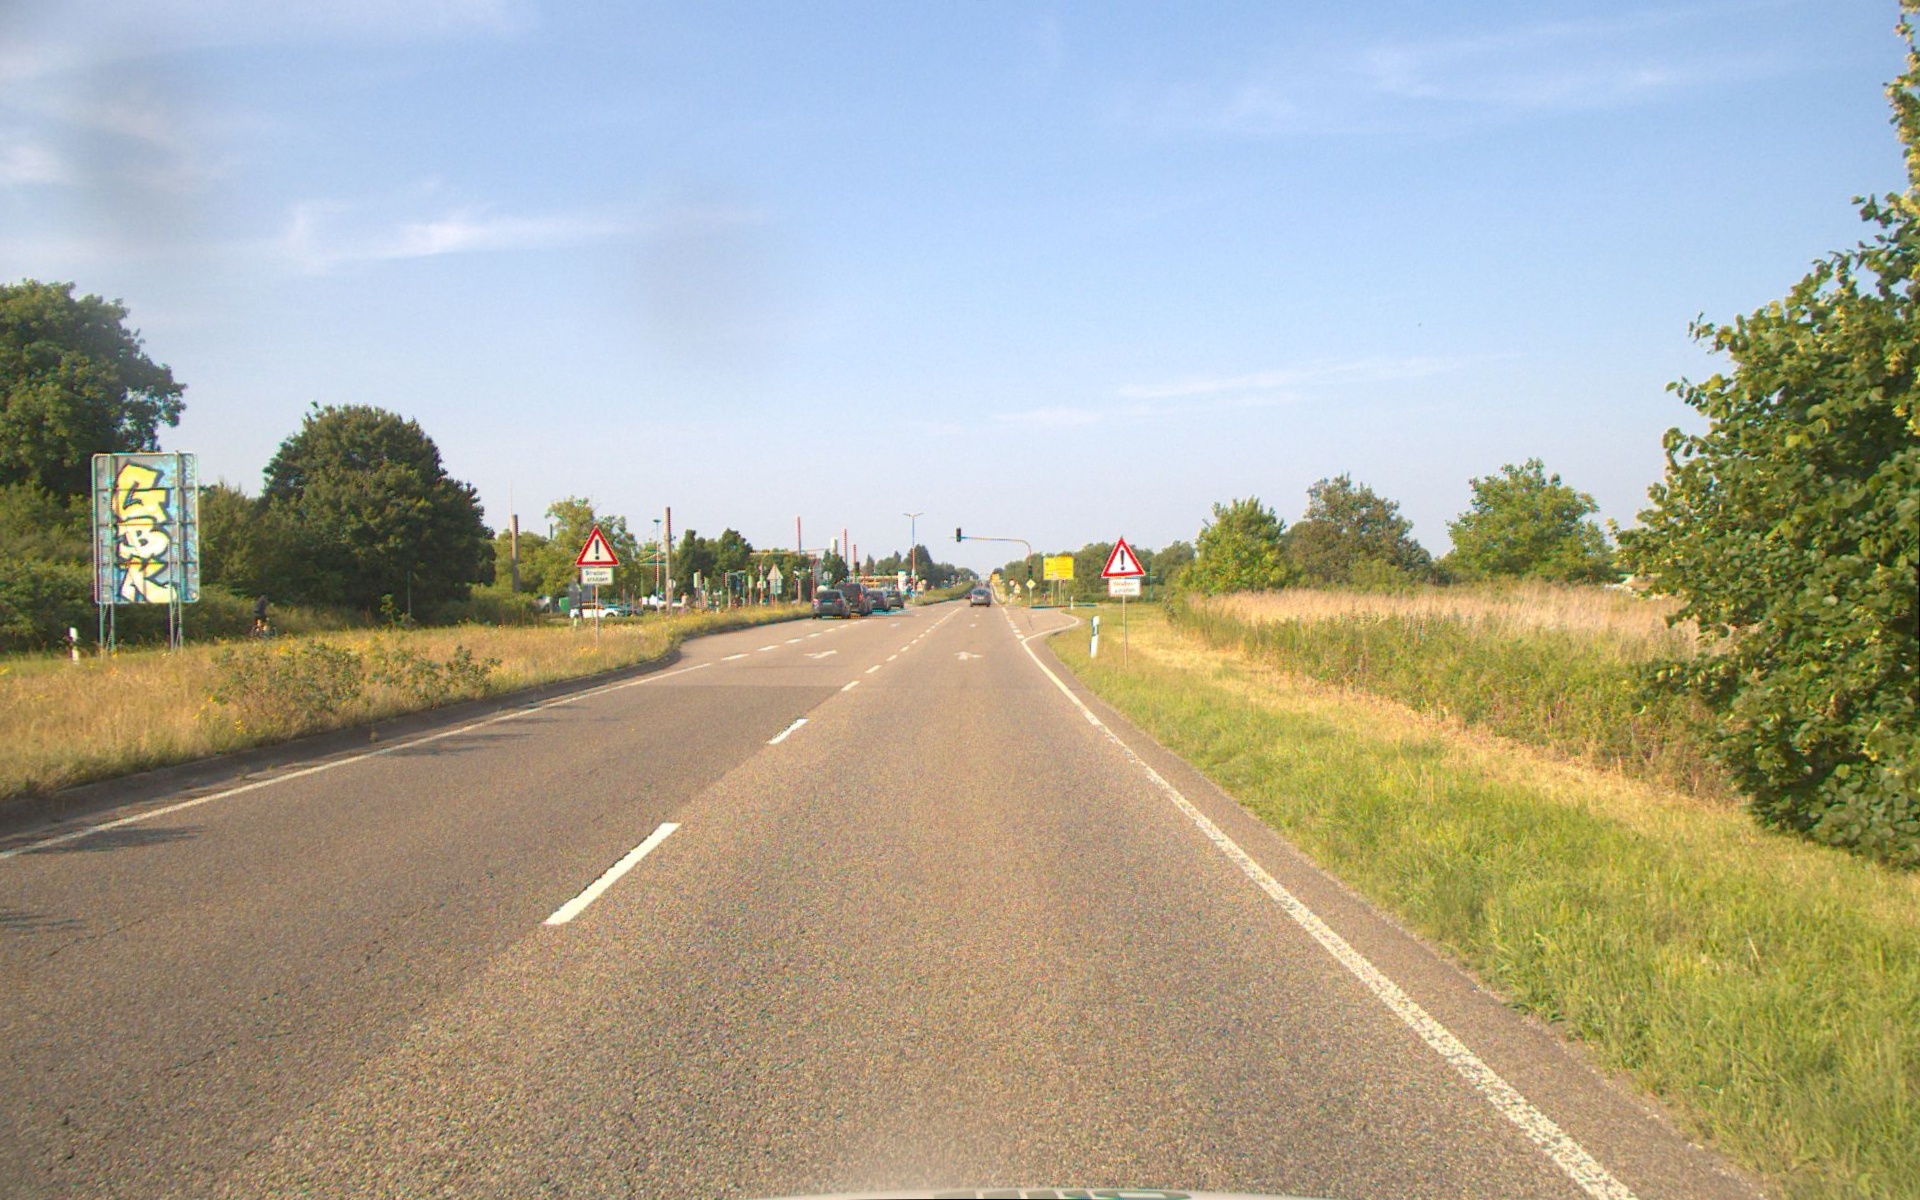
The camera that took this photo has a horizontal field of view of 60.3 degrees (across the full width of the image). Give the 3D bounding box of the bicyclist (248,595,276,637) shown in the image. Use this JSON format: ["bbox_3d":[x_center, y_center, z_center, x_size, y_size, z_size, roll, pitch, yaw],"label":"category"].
[{"bbox_3d":[-23.636,0.533,56.031,0.457,1.414,1.048,-1,0,1],"label":"bicyclist"}]

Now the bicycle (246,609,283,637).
[{"bbox_3d":[-23.610,0.770,56.153,0.519,0.893,1.705,-1,0,1],"label":"bicycle"}]

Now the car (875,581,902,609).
[{"bbox_3d":[-5.710,-0.382,131.463,1.955,2.049,4.831,-1,-2,-5],"label":"car"}]

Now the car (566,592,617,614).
[{"bbox_3d":[-30.199,0.251,135.632,3.915,1.691,1.882,1,-1,-11],"label":"car"}]

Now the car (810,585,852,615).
[{"bbox_3d":[-6.604,-0.043,85.176,1.696,1.481,4.521,-1,1,2],"label":"car"}]

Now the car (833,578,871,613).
[{"bbox_3d":[-5.999,-0.253,92.498,1.696,1.888,4.521,-1,1,2],"label":"car"}]

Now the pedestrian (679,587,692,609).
[{"bbox_3d":[-21.628,-0.162,130.231,0.897,1.736,1.066,1,-1,-5],"label":"pedestrian"}]

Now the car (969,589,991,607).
[{"bbox_3d":[1.820,-0.184,149.445,1.952,1.579,4.001,-1,1,2],"label":"car"}]

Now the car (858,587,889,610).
[{"bbox_3d":[-5.846,-0.146,111.766,1.733,1.497,4.016,-1,1,2],"label":"car"}]

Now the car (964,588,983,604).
[{"bbox_3d":[1.481,-0.442,175.485,1.952,1.579,4.001,-1,1,2],"label":"car"}]
